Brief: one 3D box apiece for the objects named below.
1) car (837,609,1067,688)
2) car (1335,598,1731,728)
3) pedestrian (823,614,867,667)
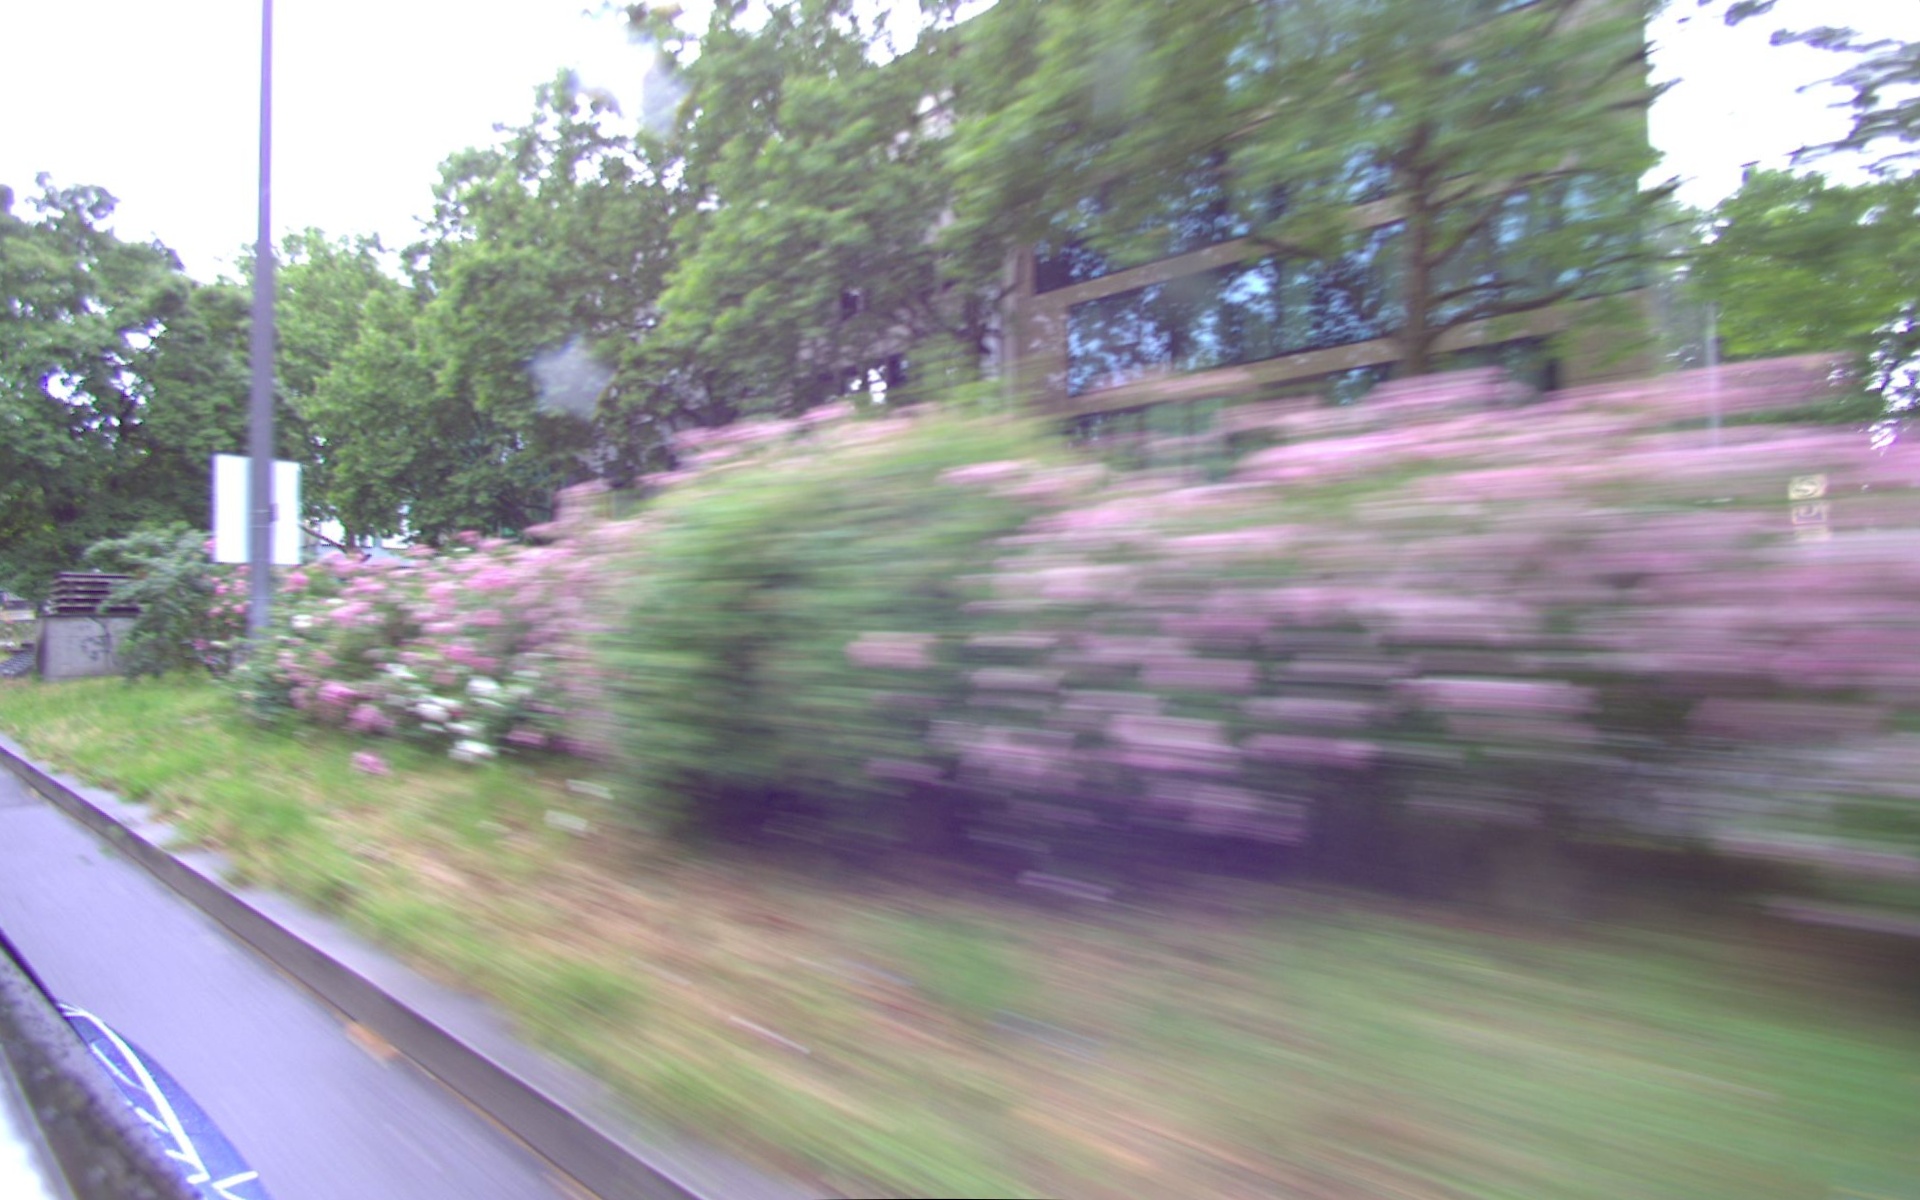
[{"bbox_3d":[-0.243,0.942,20.791,4.537,1.380,1.973,-2,1,41],"label":"car"},{"bbox_3d":[7.797,0.796,14.005,4.513,1.520,1.974,-1,-2,39],"label":"car"},{"bbox_3d":[-3.108,1.077,27.371,0.932,1.390,0.756,-1,-1,38],"label":"pedestrian"}]
